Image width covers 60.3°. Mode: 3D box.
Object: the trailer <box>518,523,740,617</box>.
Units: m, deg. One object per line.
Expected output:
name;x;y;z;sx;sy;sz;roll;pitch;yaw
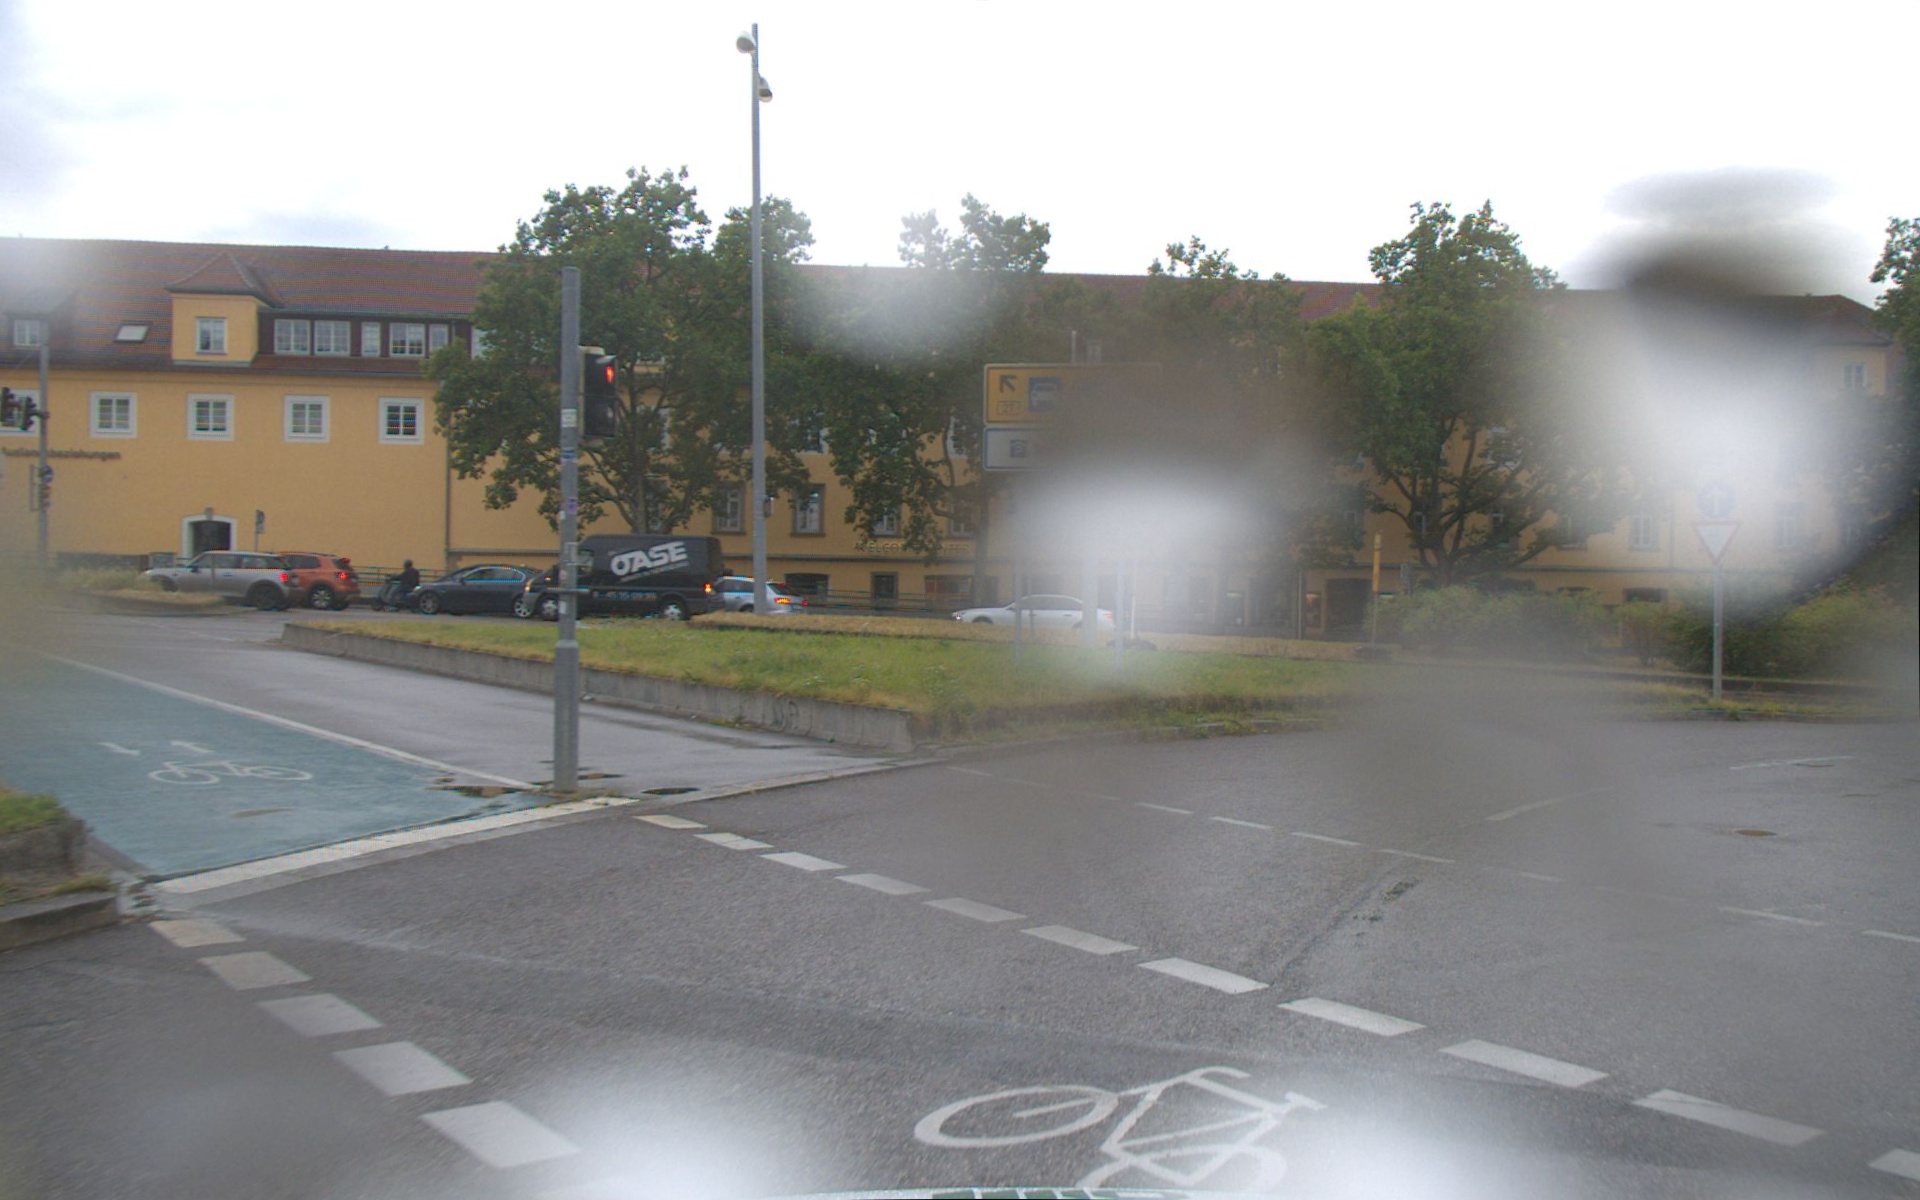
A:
trailer;-8.641;-0.752;43.435;5.344;2.297;2.001;-1;-1;4

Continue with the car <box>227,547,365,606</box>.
car;-18.702;-0.652;46.717;3.340;1.498;1.647;2;-1;-13

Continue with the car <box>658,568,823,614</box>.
car;-6.111;-0.249;46.142;4.272;1.160;1.542;2;-1;16

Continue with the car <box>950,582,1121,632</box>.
car;2.346;0.237;51.834;5.182;1.385;1.556;2;-1;-5

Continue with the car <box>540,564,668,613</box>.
car;-10.821;-0.338;50.452;3.522;1.360;1.577;2;-1;-1

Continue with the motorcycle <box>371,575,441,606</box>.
motorcycle;-16.746;-0.275;50.008;1.931;0.867;0.543;2;-1;-15

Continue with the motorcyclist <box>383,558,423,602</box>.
motorcyclist;-16.815;-0.594;49.933;1.058;1.295;0.689;2;-1;-16

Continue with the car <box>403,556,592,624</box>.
car;-13.055;-0.257;46.867;4.700;1.739;2.001;2;-1;6

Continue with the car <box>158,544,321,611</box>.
car;-17.879;-0.545;41.193;3.341;1.508;1.830;2;-1;-12
